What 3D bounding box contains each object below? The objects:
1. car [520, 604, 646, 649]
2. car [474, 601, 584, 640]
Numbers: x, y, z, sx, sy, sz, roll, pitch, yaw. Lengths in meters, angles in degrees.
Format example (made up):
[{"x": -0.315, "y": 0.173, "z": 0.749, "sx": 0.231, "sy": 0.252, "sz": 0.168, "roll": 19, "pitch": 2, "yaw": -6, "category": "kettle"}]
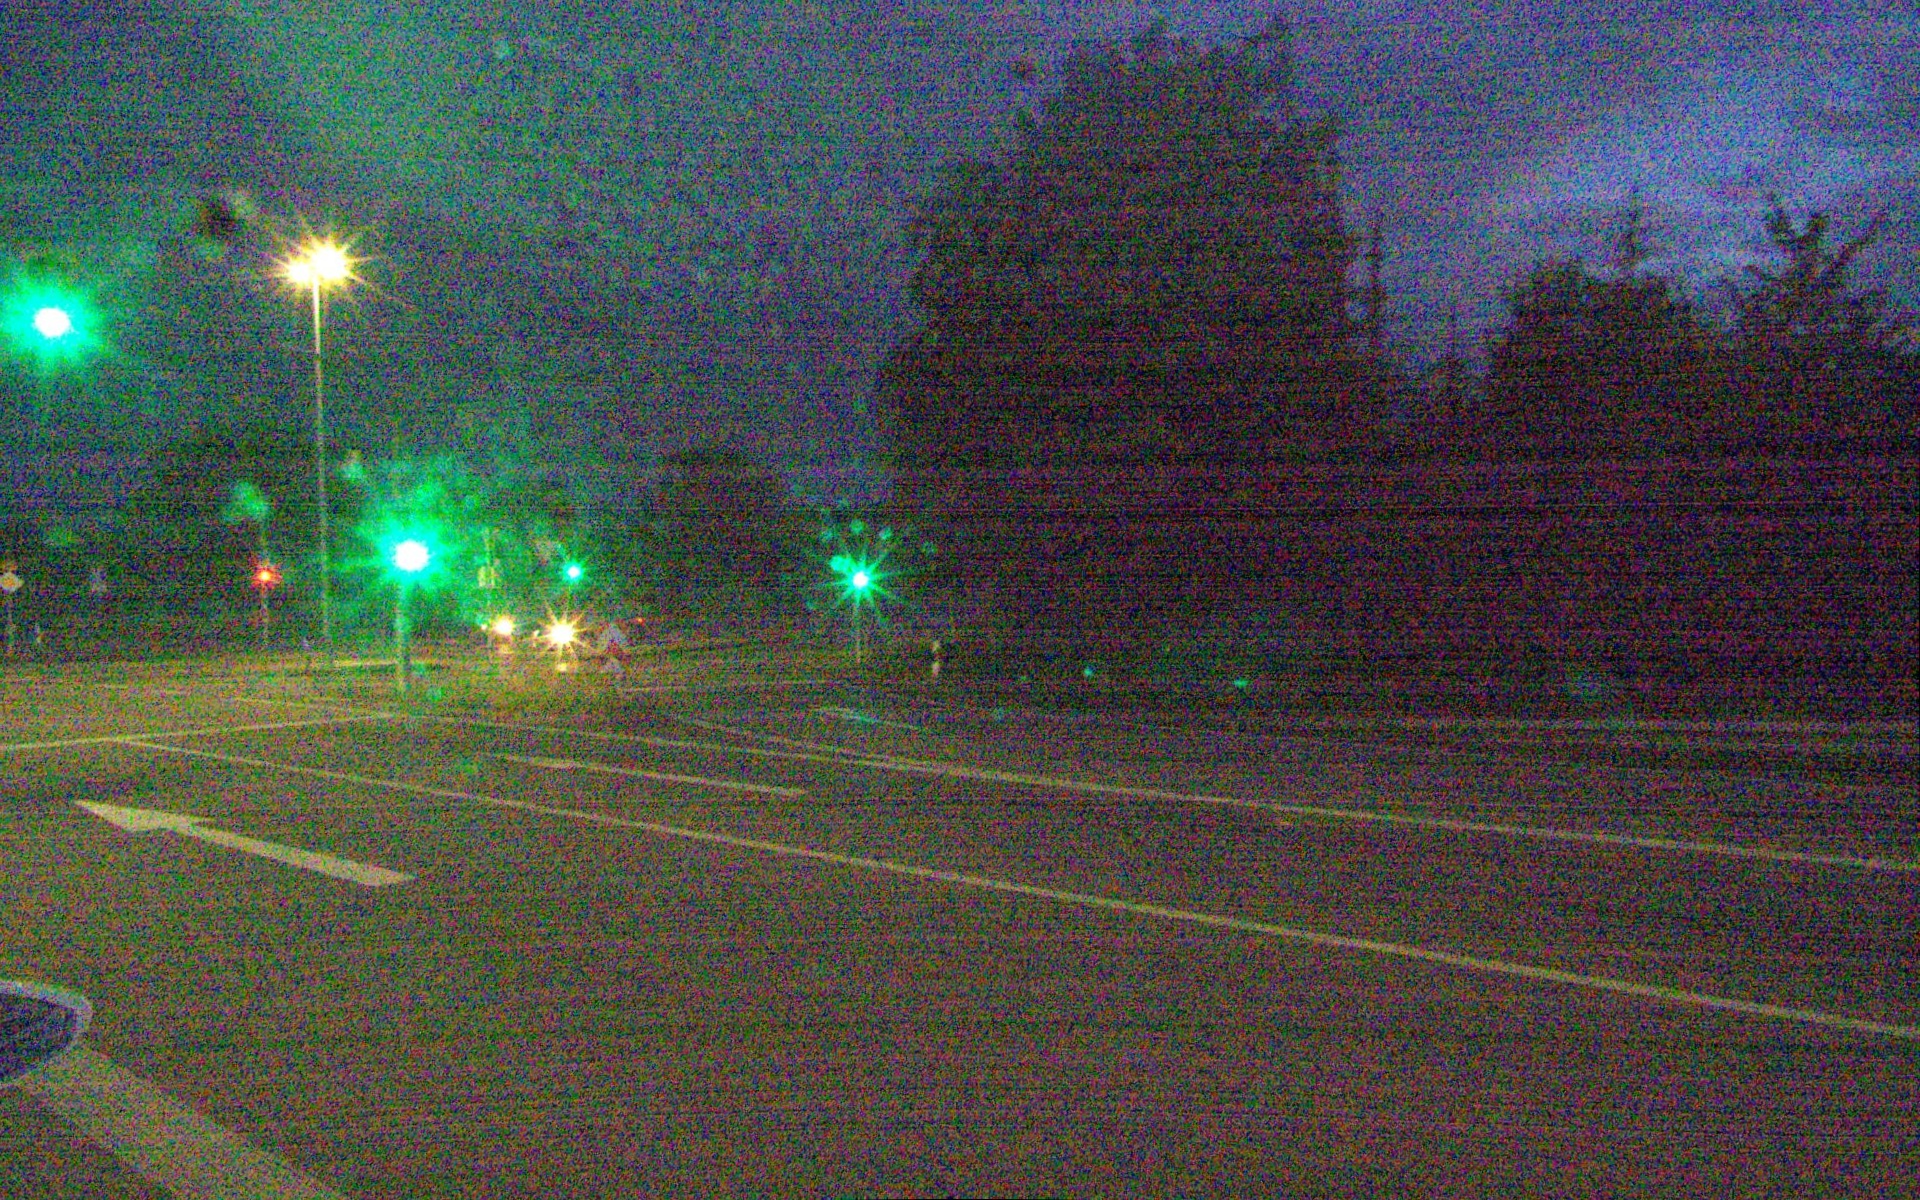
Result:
[{"x": -13.883, "y": 0.941, "z": 37.070, "sx": 1.972, "sy": 1.590, "sz": 4.069, "roll": 0, "pitch": 0, "yaw": 29, "category": "car"}, {"x": -18.271, "y": 0.823, "z": 42.604, "sx": 1.871, "sy": 1.590, "sz": 3.983, "roll": 0, "pitch": 0, "yaw": 29, "category": "car"}]
